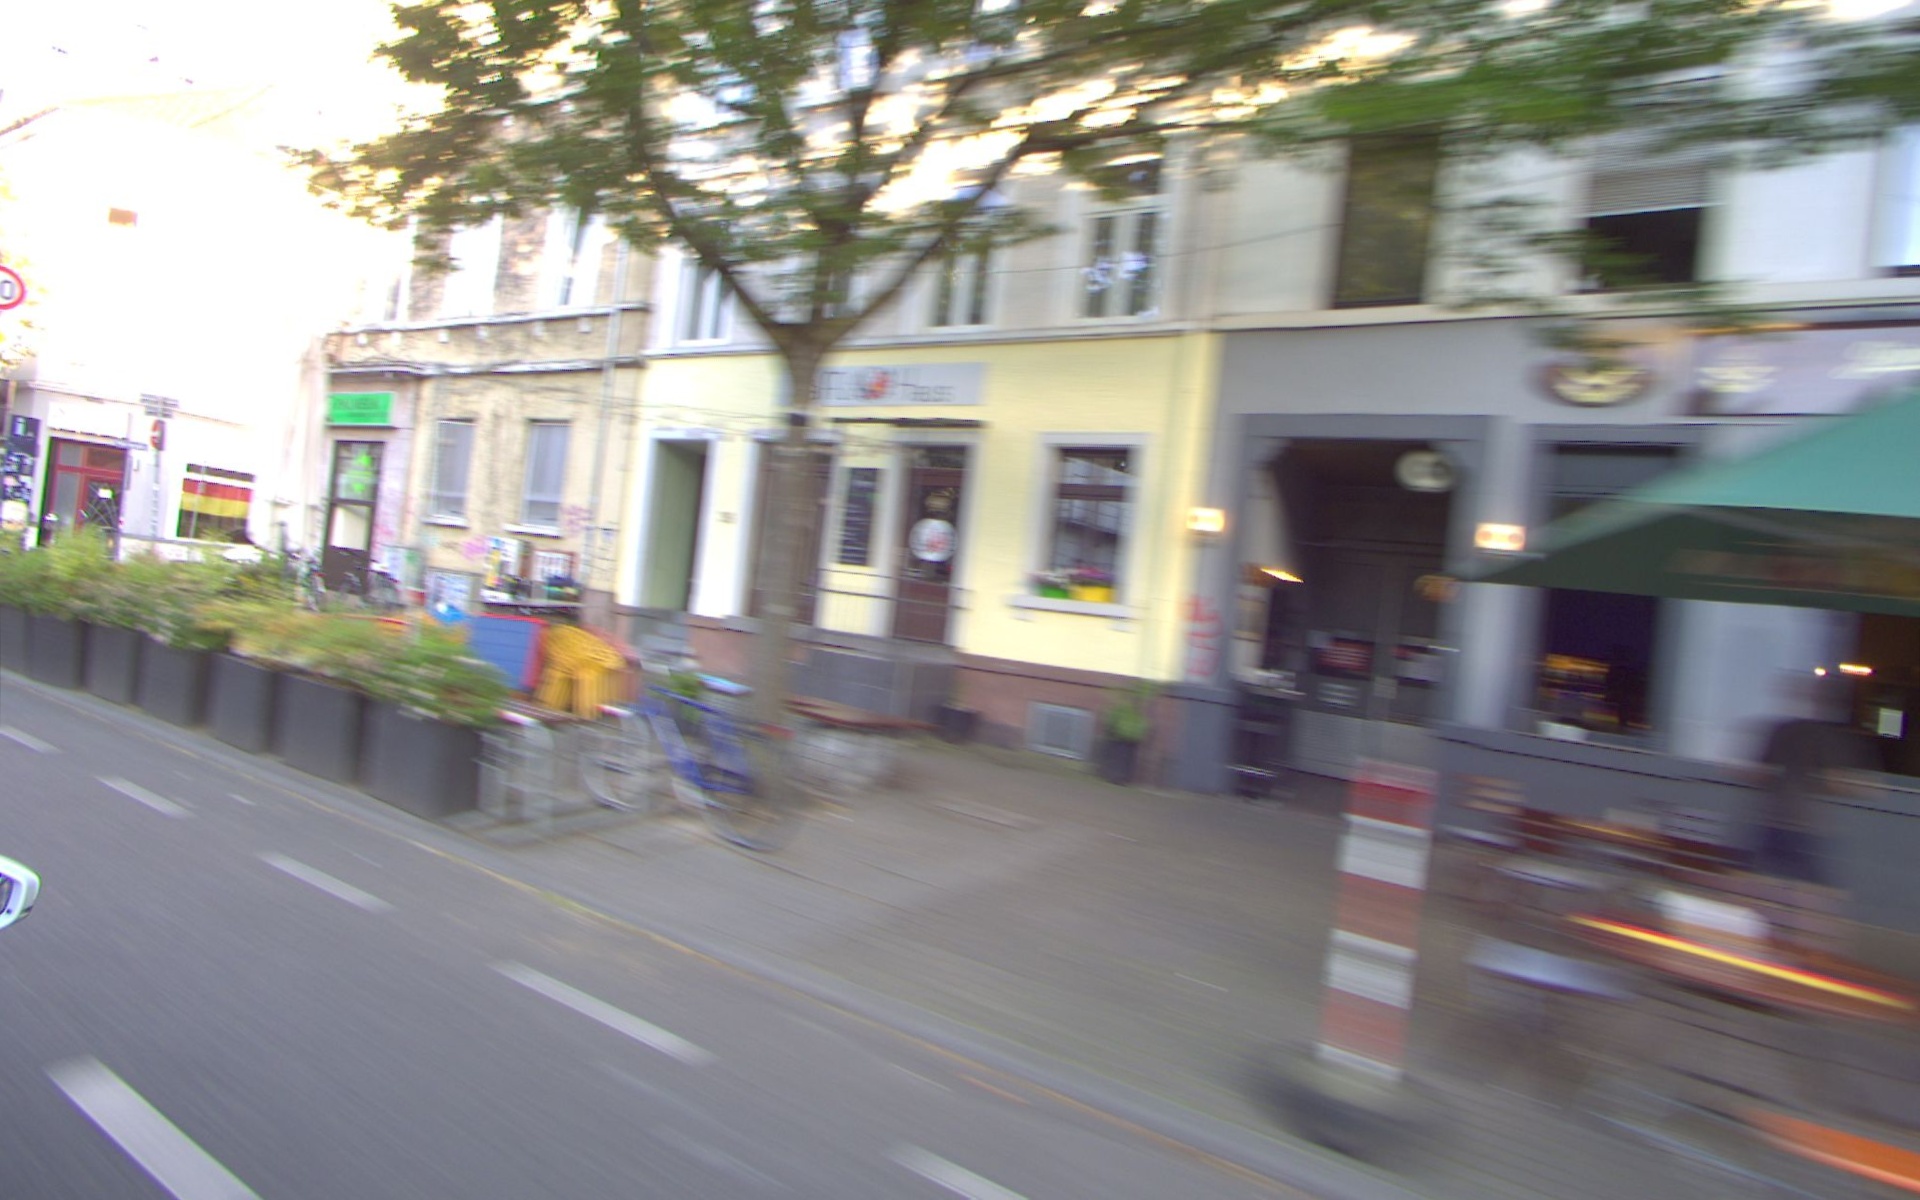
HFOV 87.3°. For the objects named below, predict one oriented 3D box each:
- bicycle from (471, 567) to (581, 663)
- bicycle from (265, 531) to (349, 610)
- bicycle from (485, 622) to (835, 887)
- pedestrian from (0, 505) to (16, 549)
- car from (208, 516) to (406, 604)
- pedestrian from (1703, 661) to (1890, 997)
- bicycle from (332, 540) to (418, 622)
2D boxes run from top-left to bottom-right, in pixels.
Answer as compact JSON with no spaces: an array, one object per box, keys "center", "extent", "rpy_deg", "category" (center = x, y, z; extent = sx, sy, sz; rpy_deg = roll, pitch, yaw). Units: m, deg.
[{"center":[-6.532,0.213,15.122],"extent":[1.753,1.225,0.470],"rpy_deg":[7,-1,32],"category":"bicycle"},{"center":[-11.744,-0.536,18.082],"extent":[1.559,1.225,0.524],"rpy_deg":[7,-1,32],"category":"bicycle"},{"center":[-1.831,0.845,6.028],"extent":[1.993,1.138,0.763],"rpy_deg":[7,-1,32],"category":"bicycle"},{"center":[-26.637,-2.046,27.631],"extent":[0.678,1.168,0.652],"rpy_deg":[7,-1,8],"category":"pedestrian"},{"center":[-18.970,-1.119,29.412],"extent":[1.878,1.862,4.325],"rpy_deg":[6,-2,37],"category":"car"},{"center":[4.858,1.284,5.890],"extent":[0.635,1.774,0.497],"rpy_deg":[7,1,36],"category":"pedestrian"},{"center":[-10.009,-0.329,17.199],"extent":[1.559,1.225,0.470],"rpy_deg":[7,-1,32],"category":"bicycle"}]
